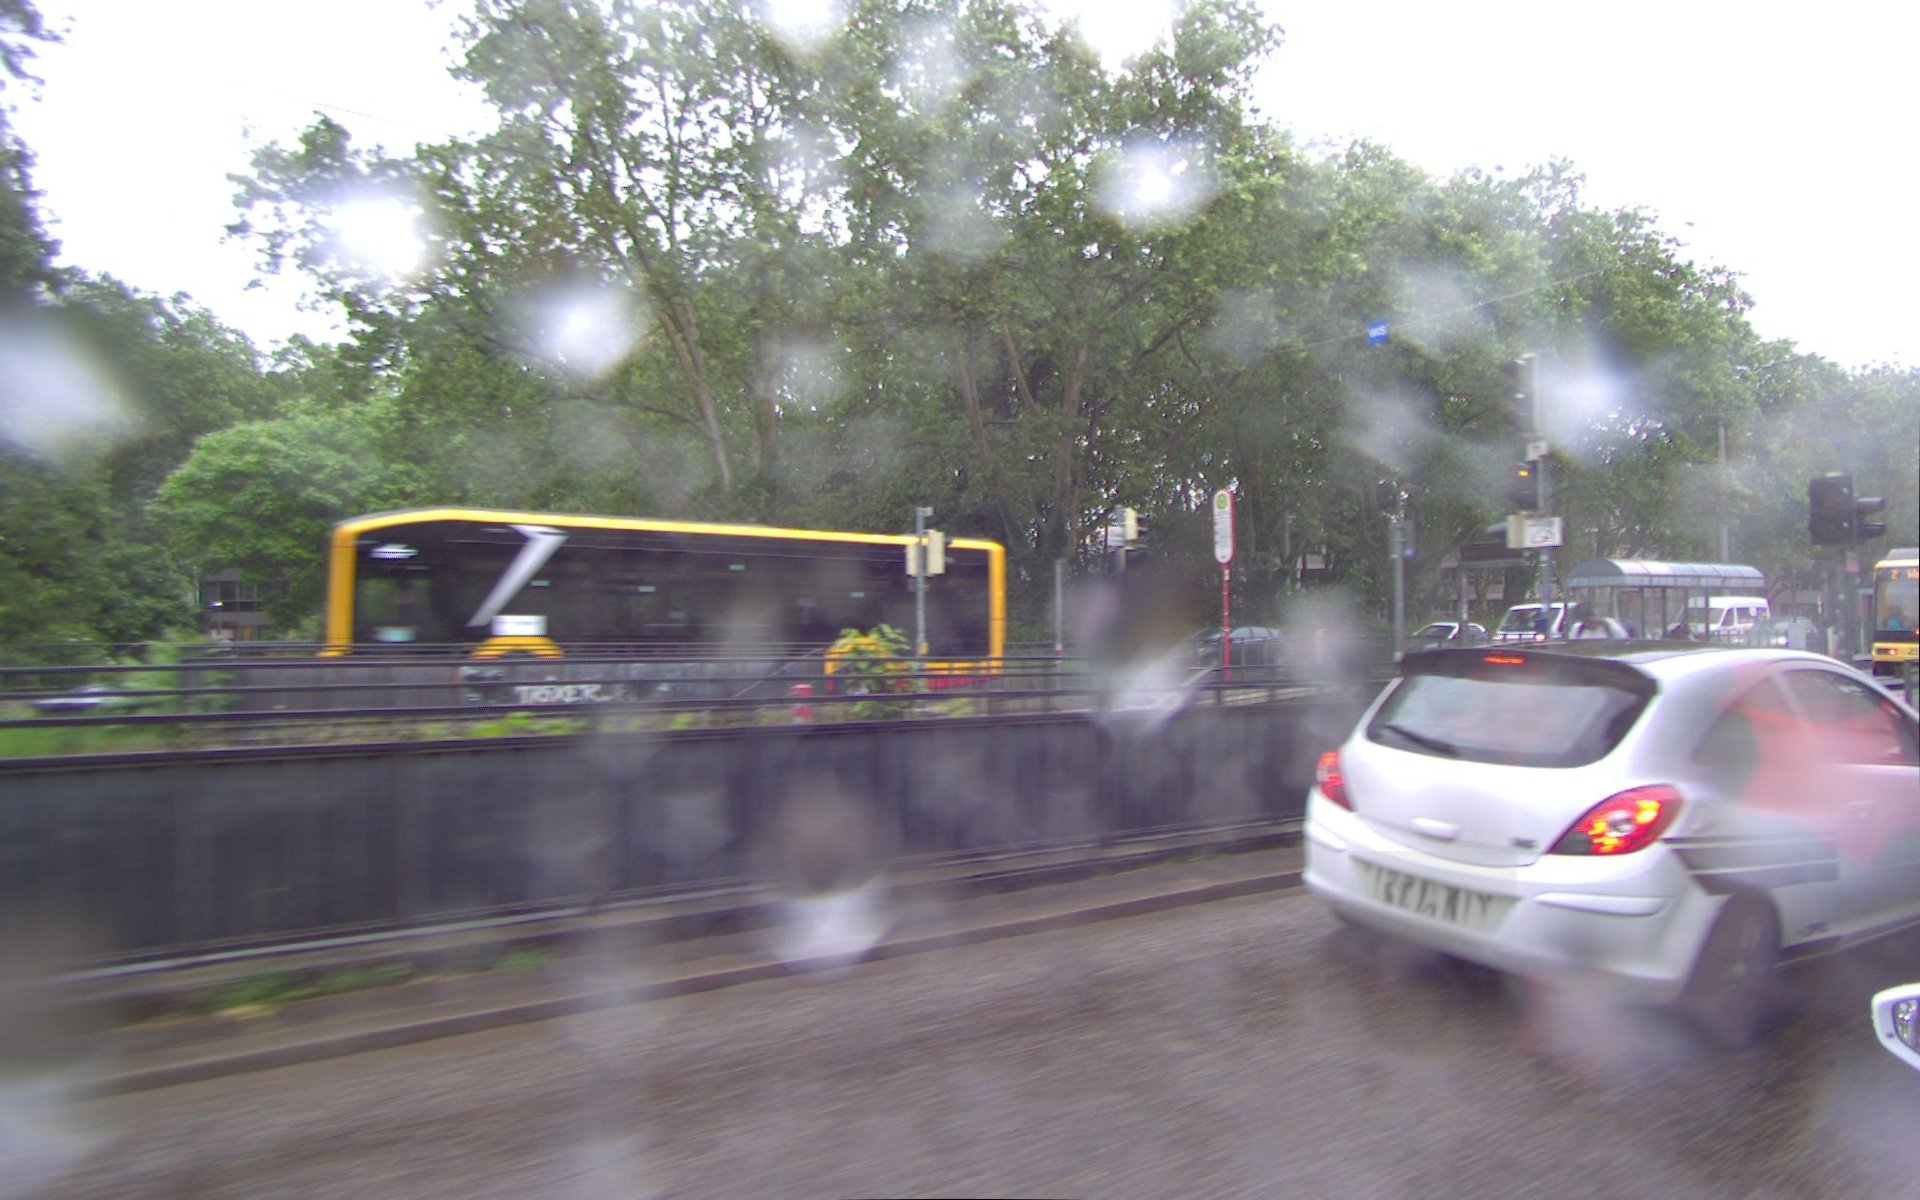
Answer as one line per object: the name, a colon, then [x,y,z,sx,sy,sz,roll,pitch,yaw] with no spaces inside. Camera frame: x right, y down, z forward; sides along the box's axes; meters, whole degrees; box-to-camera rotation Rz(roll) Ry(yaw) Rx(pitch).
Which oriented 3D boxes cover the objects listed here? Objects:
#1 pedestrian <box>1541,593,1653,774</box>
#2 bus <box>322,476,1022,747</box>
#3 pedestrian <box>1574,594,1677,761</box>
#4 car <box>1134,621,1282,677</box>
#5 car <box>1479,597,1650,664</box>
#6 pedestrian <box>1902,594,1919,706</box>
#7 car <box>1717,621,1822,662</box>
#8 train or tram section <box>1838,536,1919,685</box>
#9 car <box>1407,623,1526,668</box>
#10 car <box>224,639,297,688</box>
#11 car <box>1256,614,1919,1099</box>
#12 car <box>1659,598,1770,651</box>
pedestrian: [6.533,0.825,10.309,0.742,1.768,0.712,1,-1,-30]
bus: [-4.688,0.279,18.847,12.105,3.889,3.014,1,0,-31]
pedestrian: [7.368,0.832,11.129,0.798,1.761,0.674,1,-1,-30]
car: [7.292,1.413,29.486,3.952,1.537,1.985,1,-2,-29]
car: [19.917,1.010,33.012,6.041,2.040,2.174,1,-1,-30]
pedestrian: [15.339,0.793,15.602,0.762,1.737,0.786,2,0,-30]
car: [32.766,1.657,40.670,3.952,1.602,1.985,1,-2,-29]
train or tram section: [25.143,0.231,24.655,8.262,3.329,2.947,0,-2,-31]
car: [18.026,1.586,35.755,3.952,1.537,1.926,1,-2,-29]
car: [-18.293,1.641,26.337,1.292,1.044,2.654,2,0,-30]
car: [3.430,0.868,4.817,3.759,1.498,1.718,2,-1,-29]
car: [33.727,1.080,44.871,5.158,2.253,1.986,1,-1,-28]
